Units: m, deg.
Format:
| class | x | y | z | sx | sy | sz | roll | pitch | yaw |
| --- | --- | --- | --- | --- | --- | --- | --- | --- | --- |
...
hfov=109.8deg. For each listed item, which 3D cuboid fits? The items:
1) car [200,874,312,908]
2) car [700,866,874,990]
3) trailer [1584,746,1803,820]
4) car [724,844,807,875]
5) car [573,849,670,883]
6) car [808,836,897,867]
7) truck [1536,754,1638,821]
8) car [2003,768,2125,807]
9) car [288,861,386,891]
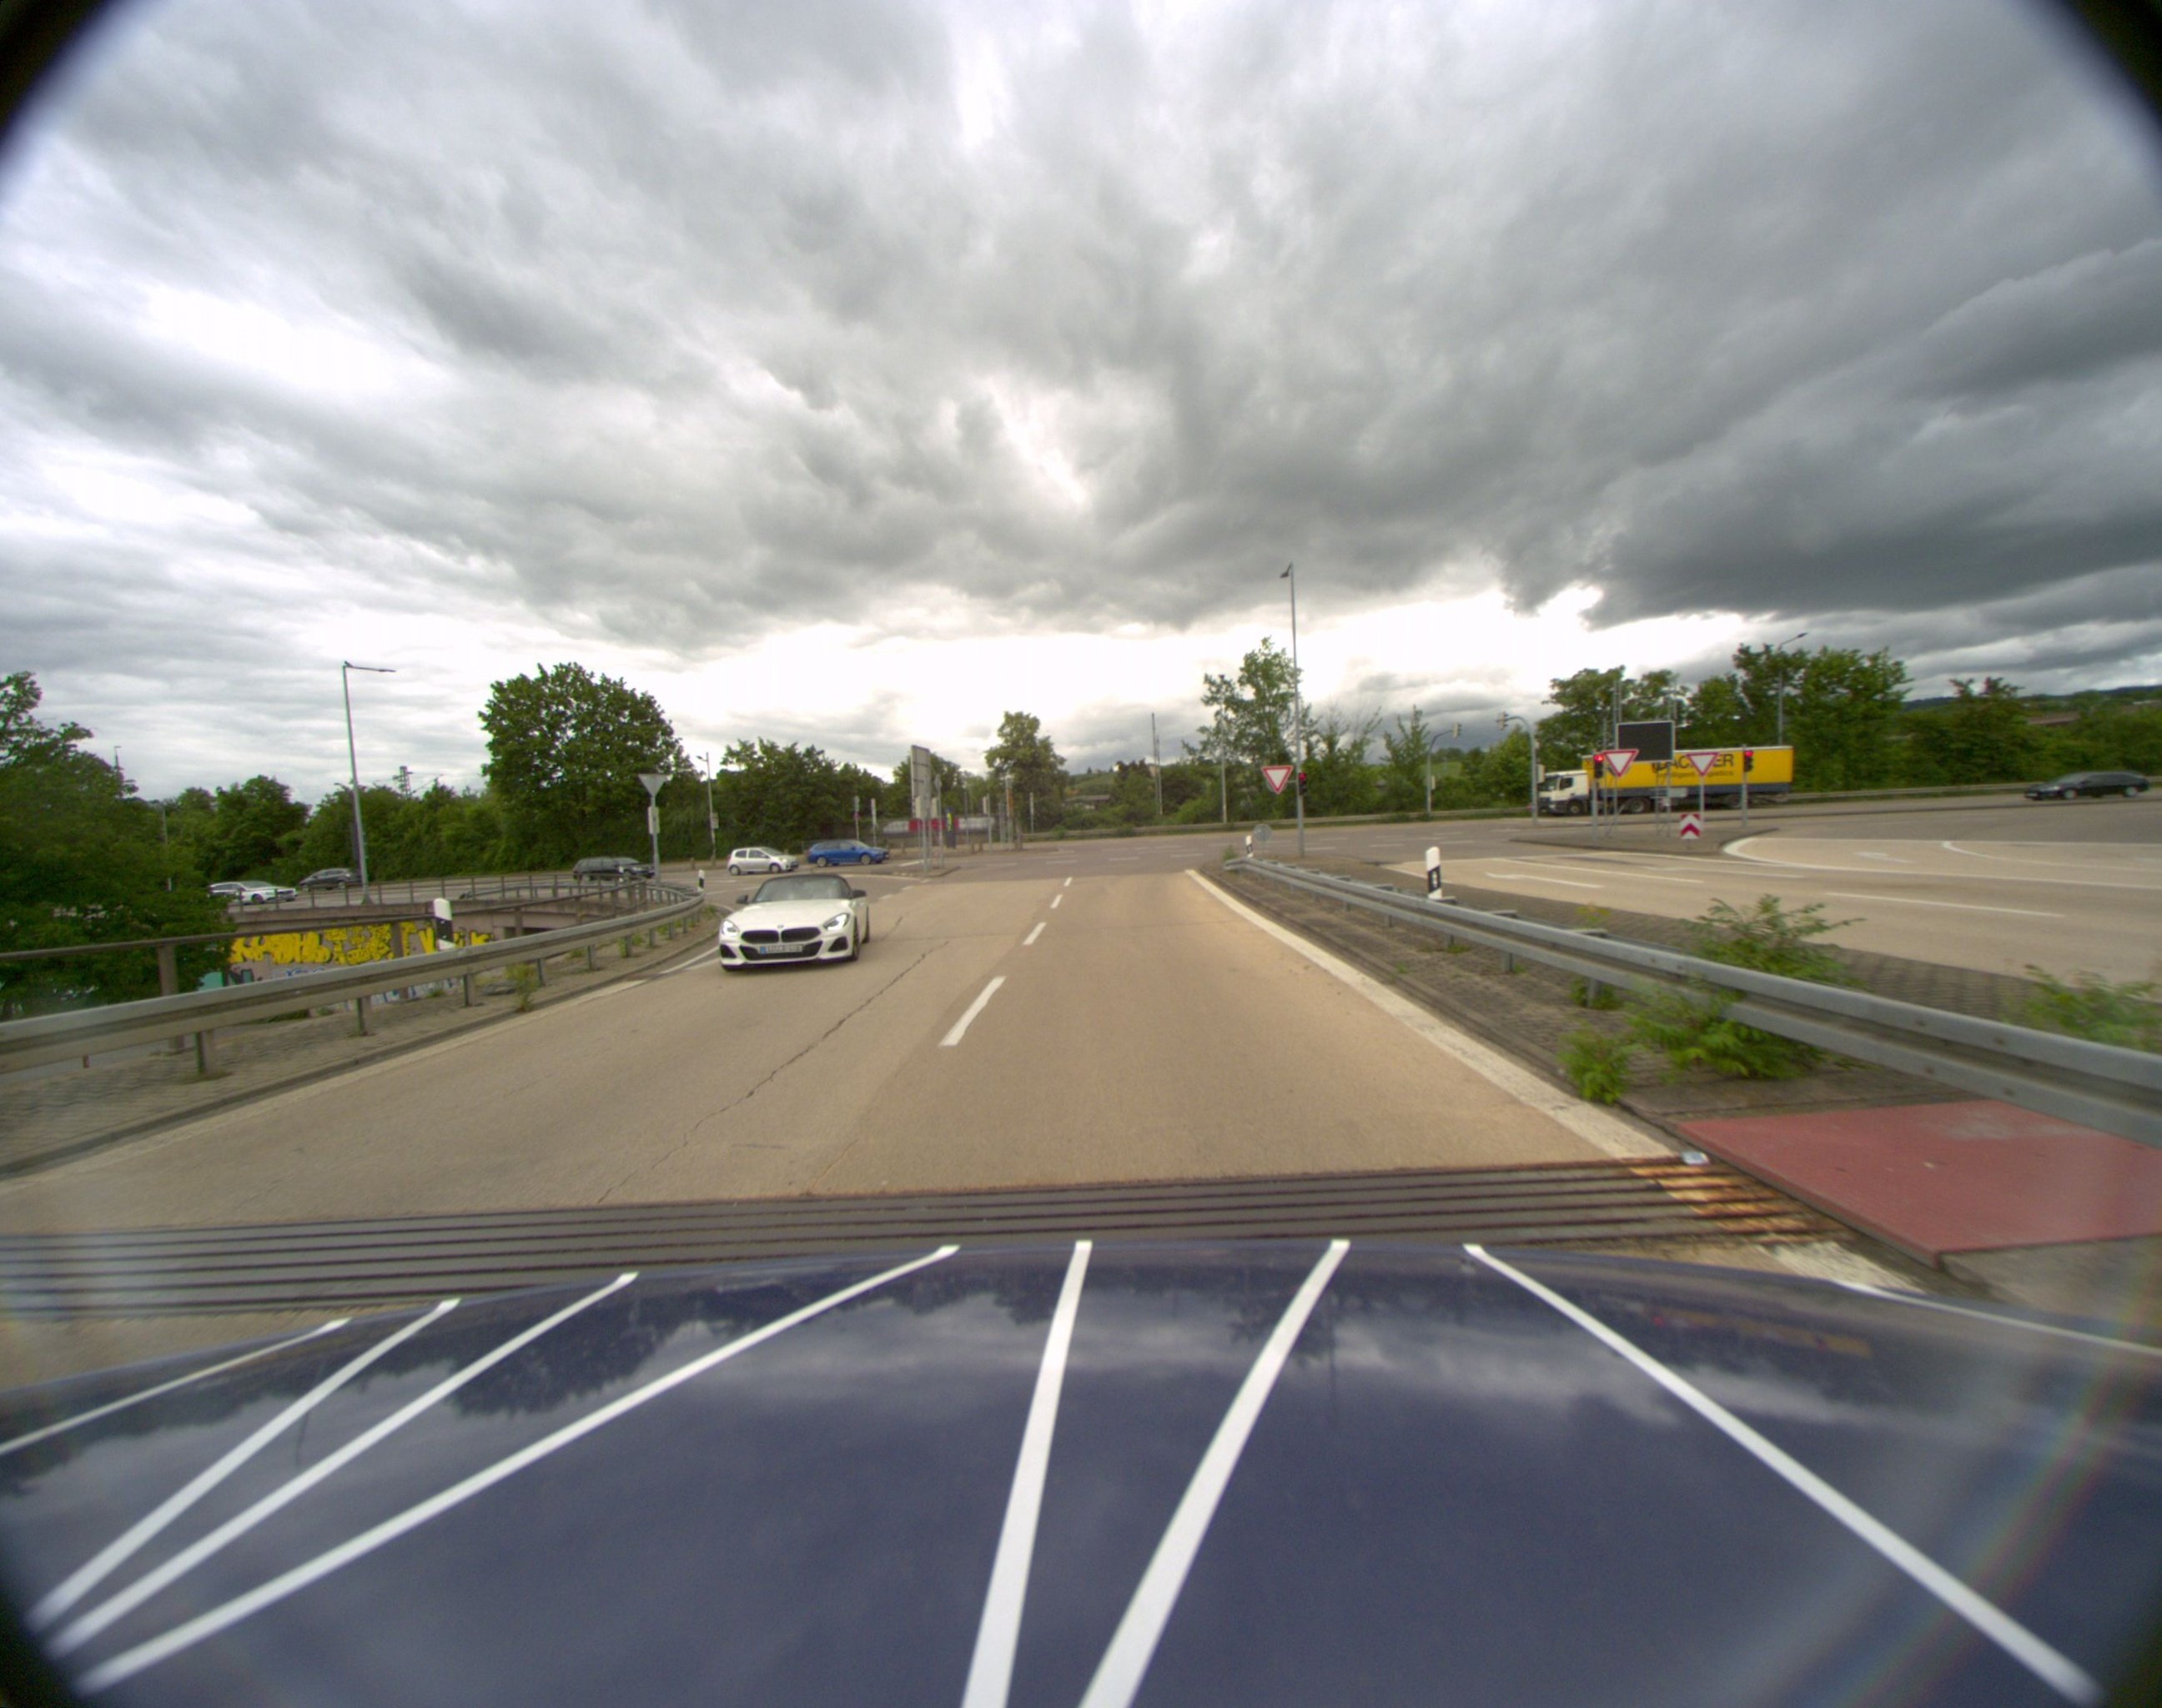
| class | x | y | z | sx | sy | sz | roll | pitch | yaw |
| --- | --- | --- | --- | --- | --- | --- | --- | --- | --- |
| car | -49.674 | 2.229 | 45.793 | 4.711 | 1.552 | 1.877 | -4 | 4 | 3 |
| car | -4.552 | 1.008 | 12.521 | 1.864 | 1.337 | 4.818 | -4 | 2 | -12 |
| trailer | 40.477 | -4.639 | 50.608 | 11.640 | 4.182 | 2.635 | -2 | 3 | 8 |
| car | -17.063 | 0.295 | 41.148 | 3.744 | 1.367 | 1.628 | -3 | 4 | 8 |
| car | -25.999 | 0.668 | 43.048 | 4.289 | 1.548 | 1.947 | -3 | 4 | 7 |
| car | -13.028 | -0.136 | 43.488 | 4.536 | 1.446 | 1.610 | -3 | 4 | 9 |
| truck | 34.240 | -4.451 | 51.527 | 5.095 | 4.182 | 2.635 | -2 | 3 | 8 |
| car | 53.455 | -3.606 | 41.381 | 4.120 | 1.653 | 1.628 | -5 | 5 | 6 |
| car | -57.388 | 1.681 | 58.674 | 5.487 | 1.746 | 2.133 | -4 | 4 | 4 |
